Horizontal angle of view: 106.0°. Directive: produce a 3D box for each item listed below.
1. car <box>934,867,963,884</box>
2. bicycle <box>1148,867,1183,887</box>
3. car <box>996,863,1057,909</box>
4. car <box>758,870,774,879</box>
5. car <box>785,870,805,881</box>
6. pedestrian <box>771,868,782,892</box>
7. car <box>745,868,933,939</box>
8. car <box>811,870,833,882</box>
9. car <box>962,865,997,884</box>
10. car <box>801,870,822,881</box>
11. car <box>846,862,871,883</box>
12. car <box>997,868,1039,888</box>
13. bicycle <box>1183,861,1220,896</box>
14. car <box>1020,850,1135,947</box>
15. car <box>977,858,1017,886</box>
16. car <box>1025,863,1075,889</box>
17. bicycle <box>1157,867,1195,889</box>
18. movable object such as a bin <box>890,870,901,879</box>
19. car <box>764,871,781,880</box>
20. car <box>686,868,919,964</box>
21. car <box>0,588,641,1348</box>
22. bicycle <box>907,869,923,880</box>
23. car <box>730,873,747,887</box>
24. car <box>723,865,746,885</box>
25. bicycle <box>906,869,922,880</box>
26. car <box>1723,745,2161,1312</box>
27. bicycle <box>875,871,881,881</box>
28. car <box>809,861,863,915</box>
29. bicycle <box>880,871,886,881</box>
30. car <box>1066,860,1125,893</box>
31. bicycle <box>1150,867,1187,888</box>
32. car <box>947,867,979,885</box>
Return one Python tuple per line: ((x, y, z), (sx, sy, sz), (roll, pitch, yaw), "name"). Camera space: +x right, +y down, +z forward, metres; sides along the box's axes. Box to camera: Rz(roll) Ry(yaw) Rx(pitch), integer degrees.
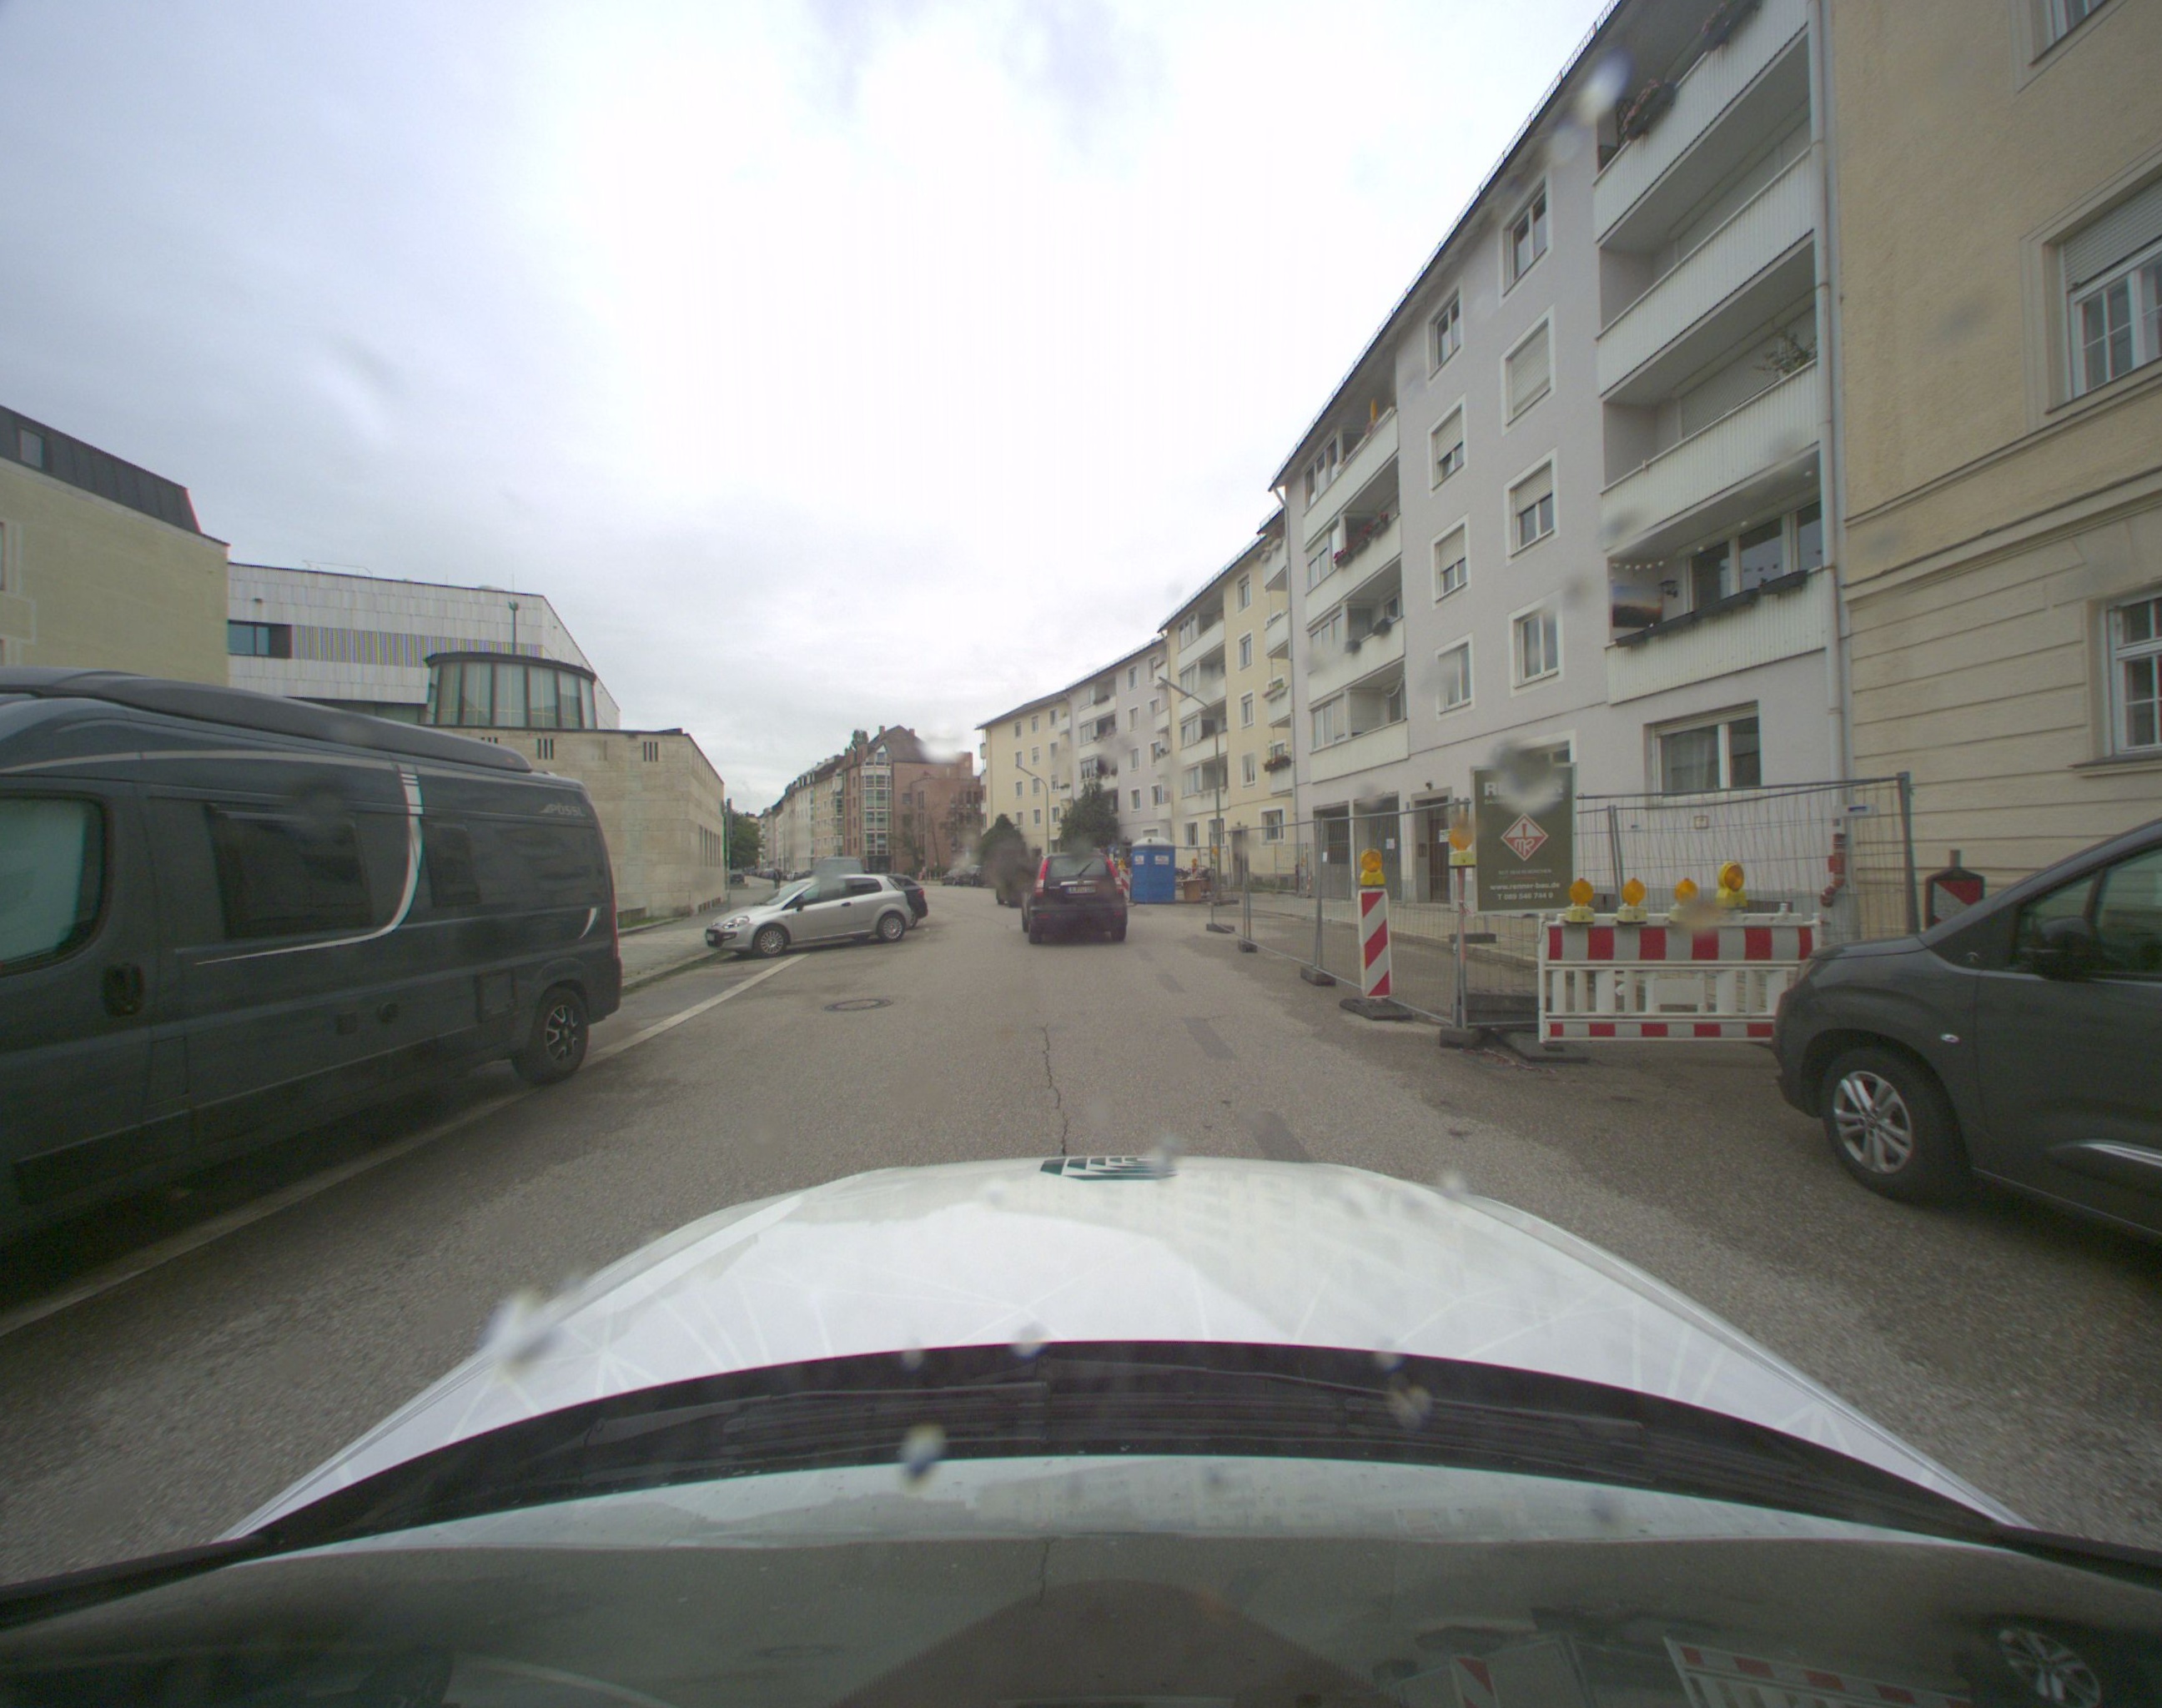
((-11.436, 1.824, 70.162), (1.705, 1.389, 3.573), (0, 0, -24), "car")
((4.763, 1.295, 45.979), (1.867, 1.091, 0.643), (-1, -1, -12), "bicycle")
((-2.029, 1.098, 29.360), (1.680, 1.481, 4.071), (-1, -1, -11), "car")
((-53.206, 3.400, 137.414), (1.820, 1.472, 4.075), (0, 0, -32), "car")
((-42.133, 3.126, 119.922), (1.820, 1.472, 4.075), (0, 0, -32), "car")
((-22.507, 1.927, 60.200), (0.753, 1.703, 0.921), (0, -1, -18), "pedestrian")
((-5.865, 1.134, 19.997), (4.107, 1.481, 1.665), (-1, -1, -39), "car")
((-34.549, 2.900, 108.448), (1.820, 1.472, 4.075), (0, 0, -32), "car")
((-7.767, 1.538, 62.297), (1.705, 1.389, 3.573), (0, 0, -24), "car")
((-37.104, 2.917, 112.206), (1.820, 1.472, 4.075), (0, 0, -32), "car")
((-21.708, 1.813, 79.489), (1.719, 1.946, 3.967), (-1, -1, -25), "car")
((-4.241, 1.570, 54.022), (1.705, 1.236, 3.573), (0, 0, -24), "car")
((5.061, 1.014, 34.416), (0.967, 1.388, 2.559), (-1, -1, -5), "bicycle")
((-0.203, 0.798, 16.190), (1.889, 1.647, 3.982), (-1, -1, -6), "car")
((-6.034, 1.251, 58.195), (1.732, 1.878, 3.968), (0, 0, -24), "car")
((-1.935, 1.287, 49.482), (1.732, 1.483, 3.968), (0, 0, -24), "car")
((4.923, 1.227, 42.266), (1.867, 1.091, 0.563), (-1, -1, -12), "bicycle")
((-23.491, 2.554, 102.987), (0.970, 1.085, 1.969), (-1, -1, -23), "movable object such as a bin")
((-50.640, 3.509, 133.484), (1.820, 1.472, 4.075), (0, 0, -32), "car")
((-5.596, 1.216, 16.675), (4.109, 1.481, 1.664), (-4, -2, -41), "car")
((-4.947, 0.431, 4.346), (2.160, 2.641, 6.009), (-2, 0, -4), "car")
((-19.892, 2.453, 97.529), (1.760, 1.288, 0.549), (-1, -1, -21), "bicycle")
((-46.936, 3.570, 111.532), (1.926, 1.746, 4.738), (-1, -1, -24), "car")
((-32.575, 1.964, 76.532), (1.926, 1.746, 4.738), (-1, -1, -24), "car")
((-20.116, 2.488, 98.153), (1.760, 1.288, 0.549), (-1, -1, -21), "bicycle")
((4.322, 0.556, 2.292), (1.771, 1.807, 4.278), (0, 0, 2), "car")
((-26.963, 2.945, 108.070), (0.553, 1.288, 1.748), (-1, -1, -20), "bicycle")
((-8.576, 1.112, 28.572), (1.683, 1.707, 4.487), (-1, -1, -17), "car")
((-26.410, 2.886, 108.416), (0.553, 1.288, 1.748), (-1, -1, -20), "bicycle")
((0.638, 1.071, 40.035), (1.729, 1.483, 3.976), (0, 0, -18), "car")
((4.730, 1.278, 43.925), (1.867, 1.091, 0.643), (-1, -1, -12), "bicycle")
((-9.660, 1.791, 66.271), (1.705, 1.389, 3.573), (0, 0, -24), "car")
